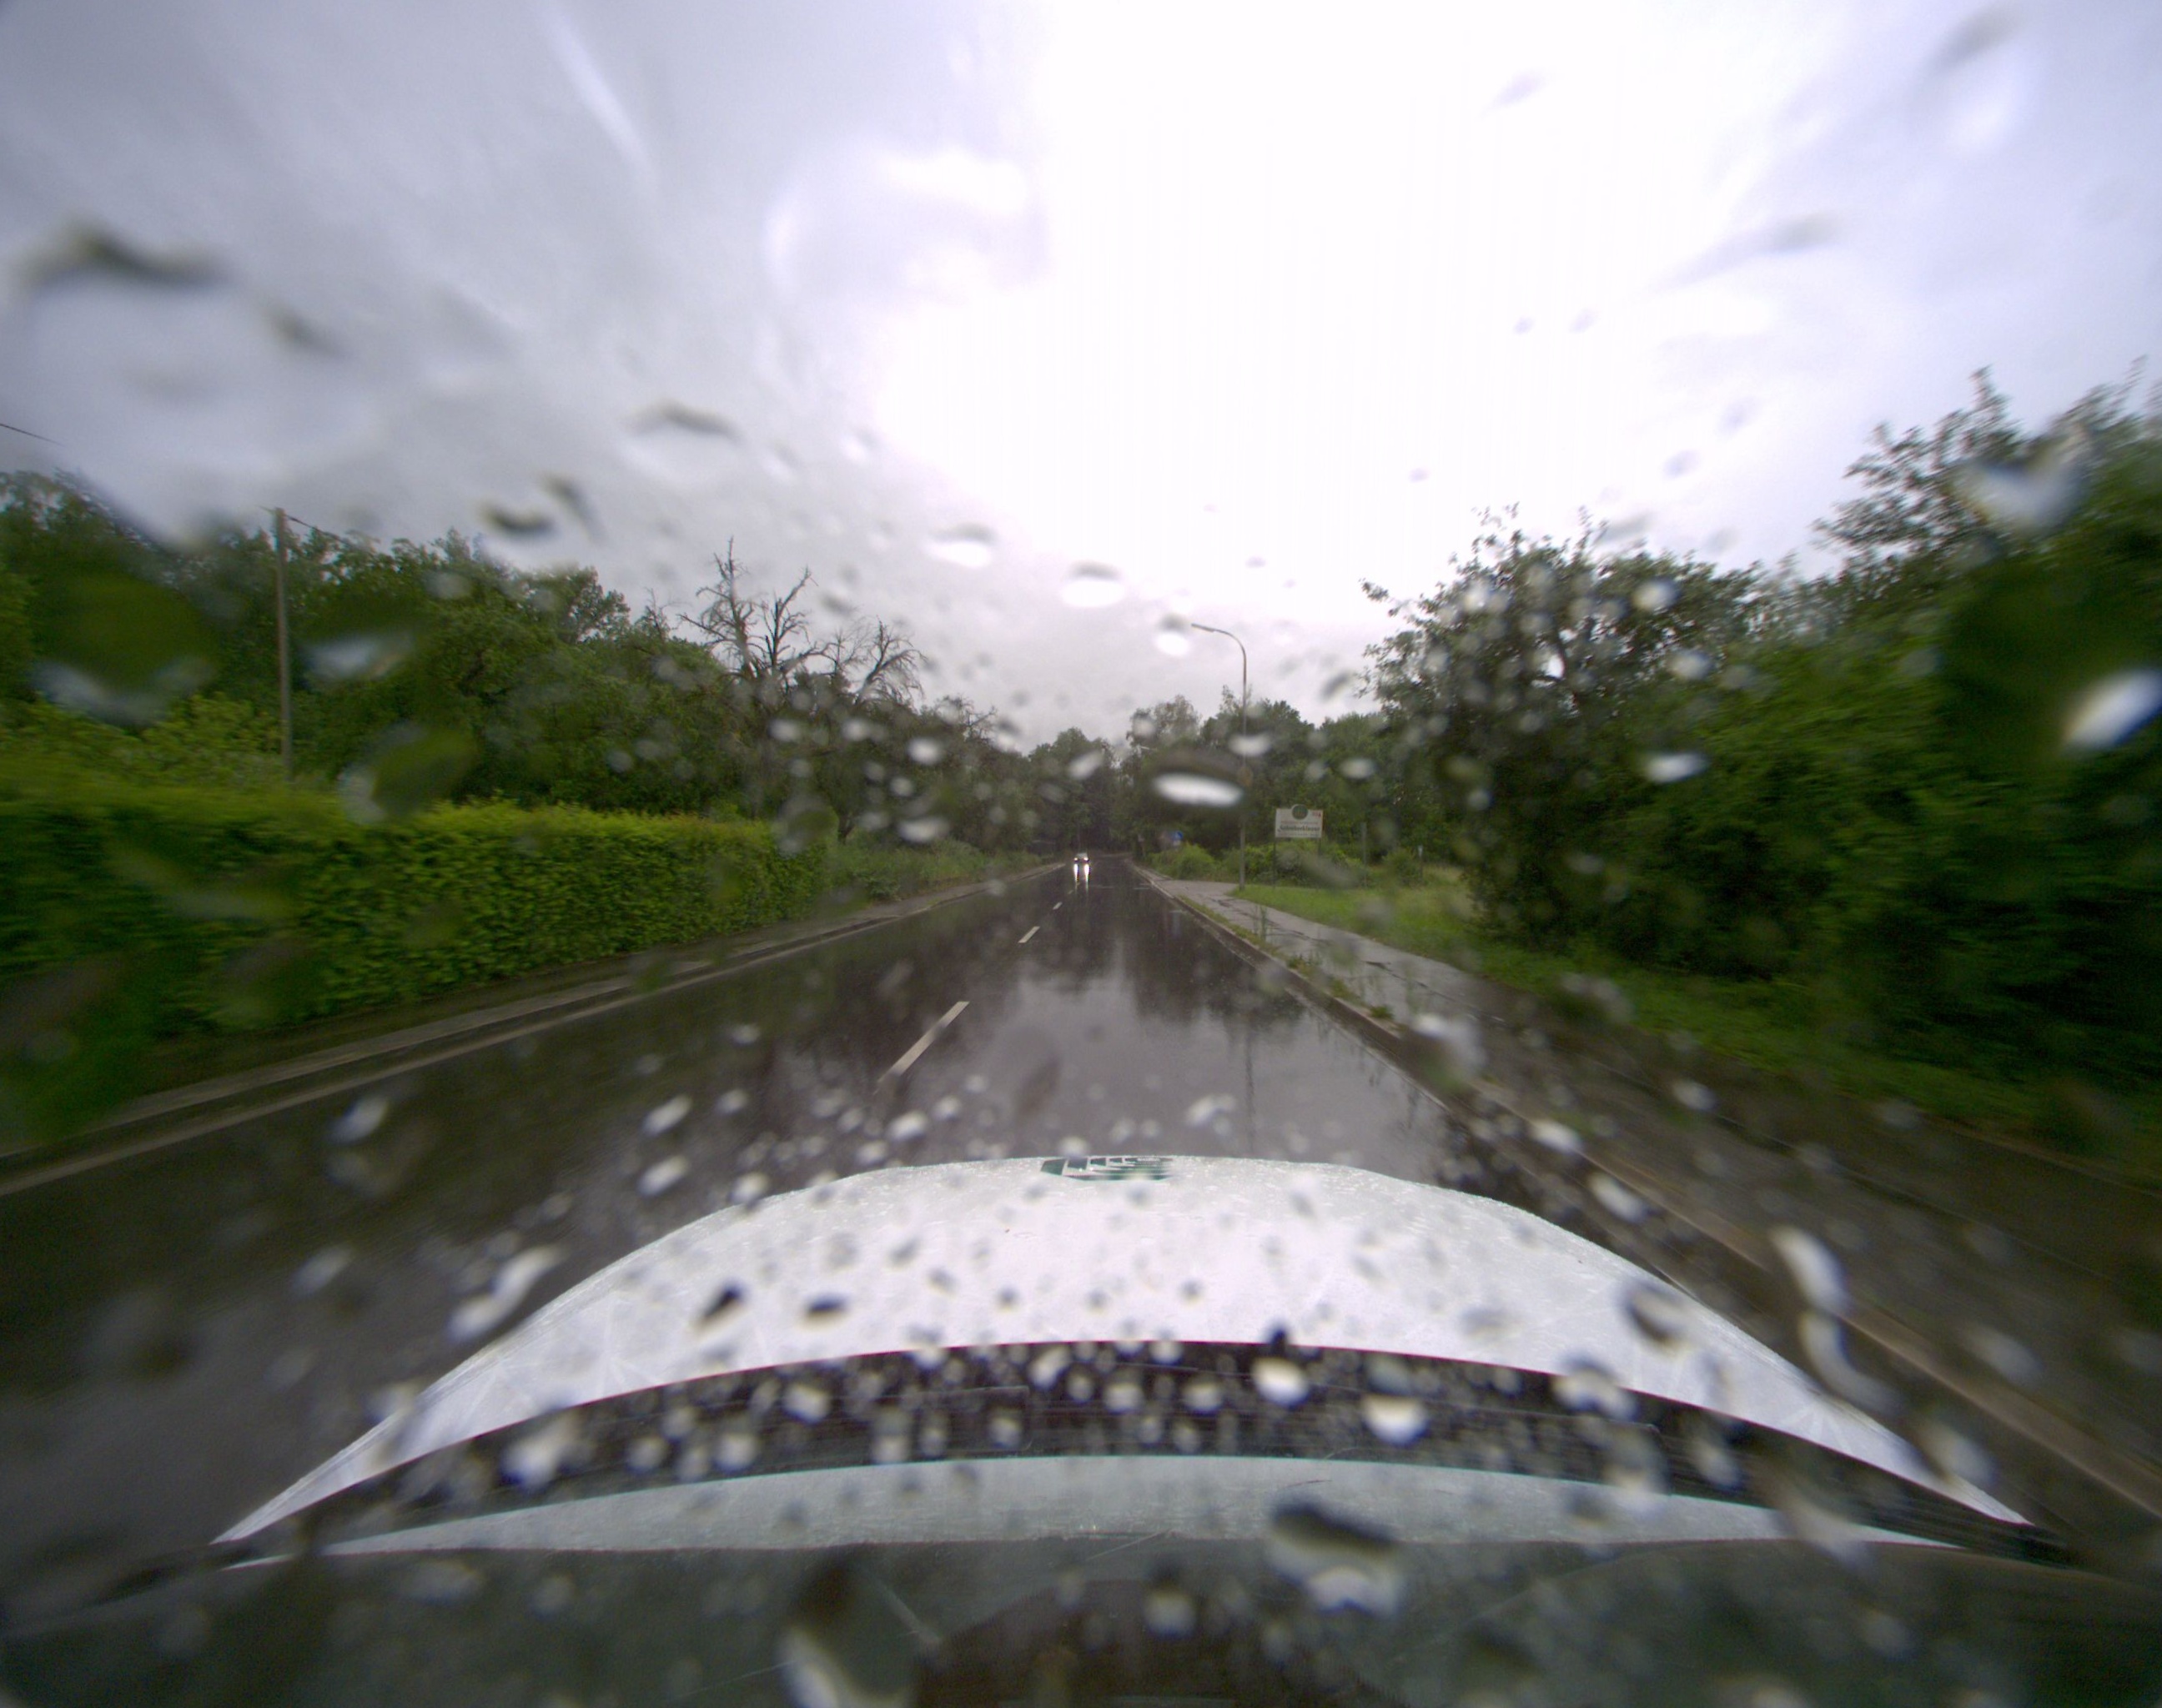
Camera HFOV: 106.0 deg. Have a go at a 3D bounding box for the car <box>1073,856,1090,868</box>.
[{"bbox_3d":[0.090,1.063,107.057,1.986,1.454,4.430,0,1,2],"label":"car"}]
